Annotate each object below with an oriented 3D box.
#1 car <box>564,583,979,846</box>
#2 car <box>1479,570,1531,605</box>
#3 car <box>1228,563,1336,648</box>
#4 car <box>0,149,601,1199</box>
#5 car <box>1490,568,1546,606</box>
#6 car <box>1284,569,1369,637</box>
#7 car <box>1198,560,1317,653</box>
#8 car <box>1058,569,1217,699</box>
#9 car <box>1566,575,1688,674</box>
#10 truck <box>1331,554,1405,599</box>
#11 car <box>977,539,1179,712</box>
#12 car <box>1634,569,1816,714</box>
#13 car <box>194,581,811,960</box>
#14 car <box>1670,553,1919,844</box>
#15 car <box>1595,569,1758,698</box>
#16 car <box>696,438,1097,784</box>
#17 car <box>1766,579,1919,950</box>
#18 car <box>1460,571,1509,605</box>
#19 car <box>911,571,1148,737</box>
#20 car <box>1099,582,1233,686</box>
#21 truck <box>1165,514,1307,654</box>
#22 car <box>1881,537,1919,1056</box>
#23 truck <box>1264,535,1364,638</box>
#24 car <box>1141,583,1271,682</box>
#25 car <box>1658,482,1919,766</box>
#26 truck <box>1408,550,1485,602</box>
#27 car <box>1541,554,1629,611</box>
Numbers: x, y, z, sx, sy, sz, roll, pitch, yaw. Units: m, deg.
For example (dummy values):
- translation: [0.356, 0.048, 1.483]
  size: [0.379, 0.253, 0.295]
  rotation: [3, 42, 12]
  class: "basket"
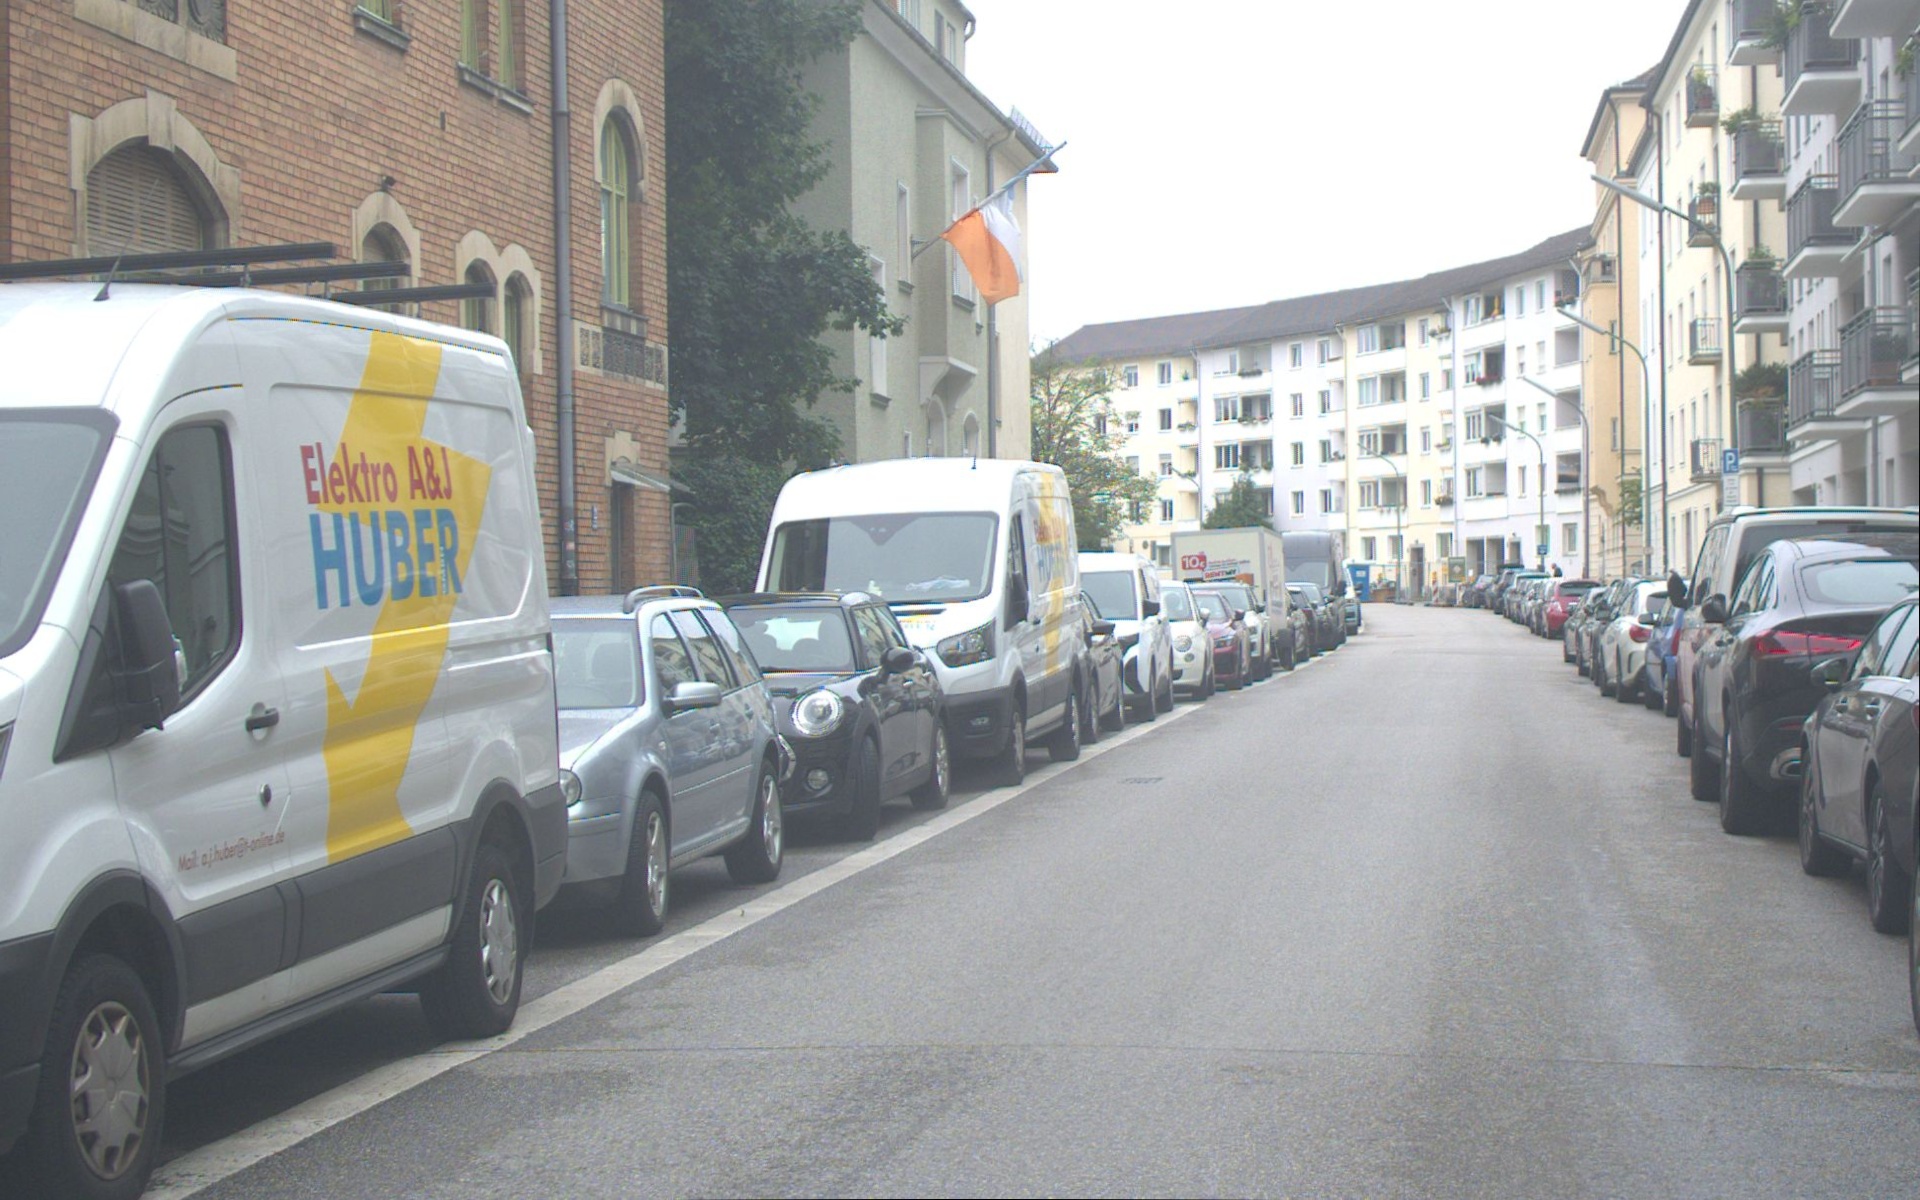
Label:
- translation: [-1.050, 0.638, 21.041]
  size: [1.699, 1.426, 3.828]
  rotation: [-2, 0, 10]
  class: "car"
- translation: [22.283, -0.519, 140.683]
  size: [1.783, 1.380, 3.999]
  rotation: [-1, 1, 5]
  class: "car"
- translation: [7.005, 0.113, 74.501]
  size: [1.994, 1.756, 4.379]
  rotation: [-1, 0, 9]
  class: "car"
- translation: [-2.749, 0.262, 9.876]
  size: [1.993, 2.460, 5.469]
  rotation: [-2, 0, 9]
  class: "car"
- translation: [21.026, -0.508, 129.692]
  size: [1.783, 1.380, 3.999]
  rotation: [-1, 1, 5]
  class: "car"
- translation: [9.885, 0.079, 92.376]
  size: [1.994, 1.756, 4.379]
  rotation: [-1, 0, 9]
  class: "car"
- translation: [5.924, 0.126, 68.003]
  size: [1.994, 1.756, 4.379]
  rotation: [-1, 0, 9]
  class: "car"
- translation: [2.282, 0.405, 43.305]
  size: [1.846, 1.535, 3.999]
  rotation: [-1, 0, 5]
  class: "car"
- translation: [10.156, 0.361, 52.519]
  size: [1.649, 1.429, 3.998]
  rotation: [-1, 0, 9]
  class: "car"
- translation: [20.855, -1.209, 176.057]
  size: [2.621, 2.292, 5.441]
  rotation: [0, 1, -6]
  class: "truck"
- translation: [1.314, 0.258, 36.610]
  size: [1.821, 1.705, 3.999]
  rotation: [-1, 0, 6]
  class: "car"
- translation: [8.026, 0.416, 36.285]
  size: [1.609, 1.429, 3.618]
  rotation: [-1, 0, 9]
  class: "car"
- translation: [-1.940, 0.682, 15.813]
  size: [1.689, 1.449, 3.995]
  rotation: [-3, 0, 9]
  class: "car"
- translation: [5.406, 0.519, 20.696]
  size: [1.860, 1.546, 4.752]
  rotation: [-1, 0, 8]
  class: "car"
- translation: [8.435, 0.381, 40.726]
  size: [1.649, 1.429, 3.998]
  rotation: [-1, 0, 9]
  class: "car"
- translation: [-0.340, 0.078, 26.257]
  size: [2.138, 2.341, 5.368]
  rotation: [-1, 0, 9]
  class: "car"
- translation: [4.746, 0.646, 15.569]
  size: [1.728, 1.454, 4.415]
  rotation: [1, 0, 8]
  class: "car"
- translation: [22.431, -0.516, 147.059]
  size: [1.783, 1.380, 3.999]
  rotation: [-1, 1, 5]
  class: "car"
- translation: [0.715, 0.475, 32.253]
  size: [1.744, 1.440, 3.999]
  rotation: [-1, 0, 8]
  class: "car"
- translation: [2.915, 0.456, 48.070]
  size: [1.751, 1.364, 3.999]
  rotation: [-1, 0, 5]
  class: "car"
- translation: [4.890, -0.270, 60.179]
  size: [1.994, 2.311, 5.407]
  rotation: [-1, 0, 9]
  class: "truck"
- translation: [3.715, 0.607, 9.190]
  size: [1.850, 1.633, 4.548]
  rotation: [-1, 0, 8]
  class: "car"
- translation: [8.372, -0.312, 80.948]
  size: [1.994, 2.311, 5.407]
  rotation: [-1, 0, 9]
  class: "truck"
- translation: [3.874, 0.487, 53.619]
  size: [1.796, 1.464, 3.866]
  rotation: [-1, 0, 7]
  class: "car"
- translation: [6.490, 0.164, 26.399]
  size: [1.870, 1.961, 4.815]
  rotation: [-1, 0, 8]
  class: "car"
- translation: [21.812, -1.085, 154.350]
  size: [2.225, 2.292, 5.291]
  rotation: [-1, 1, -6]
  class: "truck"
- translation: [15.639, -0.453, 86.179]
  size: [1.783, 1.380, 3.999]
  rotation: [-1, 1, 5]
  class: "car"
